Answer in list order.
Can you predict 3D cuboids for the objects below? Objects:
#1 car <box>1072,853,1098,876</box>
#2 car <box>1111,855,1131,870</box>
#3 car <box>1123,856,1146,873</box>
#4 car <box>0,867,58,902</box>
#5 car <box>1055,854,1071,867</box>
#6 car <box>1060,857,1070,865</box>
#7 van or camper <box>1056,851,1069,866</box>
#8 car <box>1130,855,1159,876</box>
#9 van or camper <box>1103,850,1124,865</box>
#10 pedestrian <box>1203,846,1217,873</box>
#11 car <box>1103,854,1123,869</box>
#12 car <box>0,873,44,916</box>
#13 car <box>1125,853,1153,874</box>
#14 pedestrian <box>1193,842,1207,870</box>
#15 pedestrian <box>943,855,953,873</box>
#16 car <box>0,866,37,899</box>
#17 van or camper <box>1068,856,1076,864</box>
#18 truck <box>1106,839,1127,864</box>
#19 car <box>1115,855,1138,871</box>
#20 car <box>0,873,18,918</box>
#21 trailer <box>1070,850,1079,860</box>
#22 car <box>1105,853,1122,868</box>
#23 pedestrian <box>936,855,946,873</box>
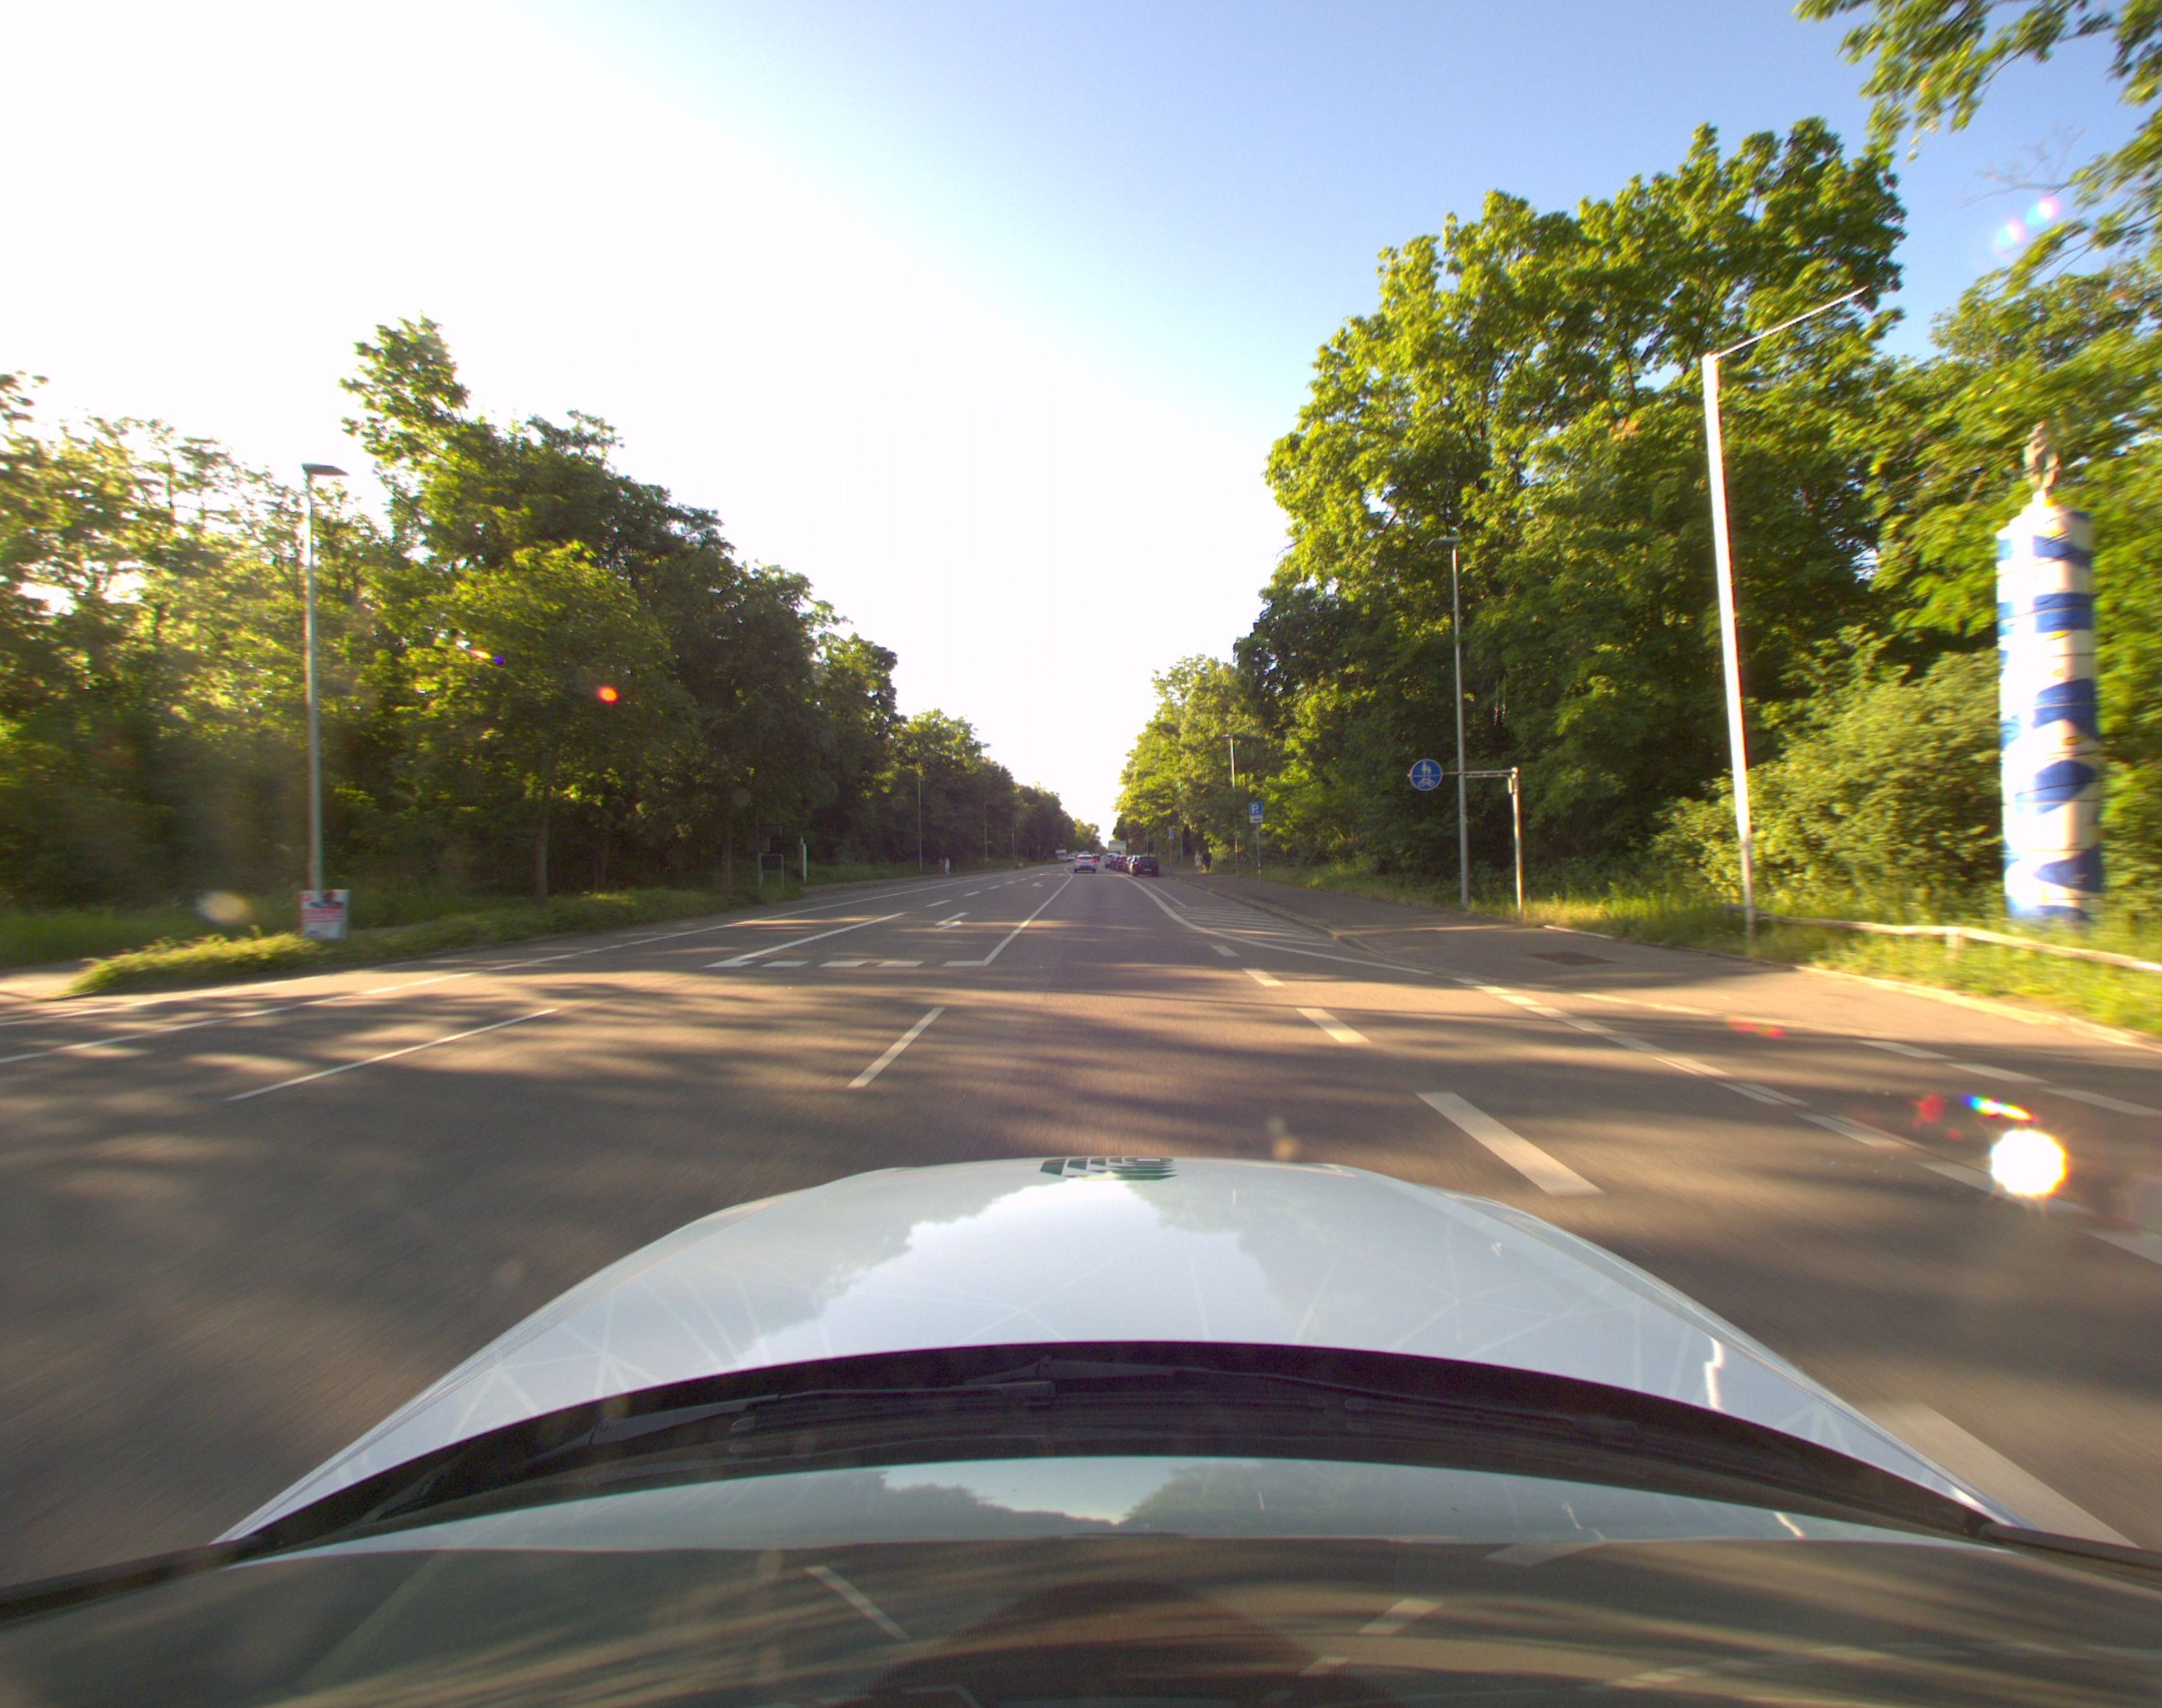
[{"bbox_3d":[0.393,0.892,69.170,2.020,1.840,4.031,-1,0,3],"label":"car"},{"bbox_3d":[3.903,0.802,79.698,1.590,1.401,3.795,0,0,-2],"label":"car"},{"bbox_3d":[4.453,0.856,68.263,1.624,1.319,3.838,0,0,-1],"label":"car"},{"bbox_3d":[-53.349,1.541,39.577,1.807,1.653,4.319,-2,0,33],"label":"car"},{"bbox_3d":[-2.056,0.758,95.315,1.801,1.519,4.503,1,0,0],"label":"car"},{"bbox_3d":[-3.209,1.363,164.628,1.822,1.476,4.679,-2,0,-1],"label":"car"},{"bbox_3d":[-3.911,0.857,172.138,2.307,2.970,7.110,-3,0,0],"label":"van or camper"},{"bbox_3d":[4.540,0.785,58.439,1.652,1.452,4.017,-1,0,-2],"label":"car"},{"bbox_3d":[6.237,0.612,155.322,2.422,2.800,6.584,-2,0,16],"label":"van or camper"},{"bbox_3d":[8.650,0.358,54.558,0.673,1.799,0.952,-3,0,-4],"label":"pedestrian"},{"bbox_3d":[3.321,0.756,84.996,1.801,1.519,4.503,1,0,0],"label":"car"},{"bbox_3d":[-43.714,1.623,31.462,1.807,1.653,4.319,-2,0,33],"label":"car"},{"bbox_3d":[4.454,0.731,62.725,1.732,1.525,4.357,-1,0,-1],"label":"car"},{"bbox_3d":[7.937,0.145,54.392,0.673,1.799,0.789,-3,0,-4],"label":"pedestrian"},{"bbox_3d":[-12.430,0.936,76.063,0.671,1.653,0.791,-1,0,6],"label":"pedestrian"},{"bbox_3d":[-56.482,1.493,41.234,1.807,1.653,4.319,-2,0,33],"label":"car"},{"bbox_3d":[-2.275,1.505,205.451,1.829,1.911,4.857,-3,0,2],"label":"van or camper"},{"bbox_3d":[5.141,-0.367,117.980,2.822,3.497,8.580,-1,0,1],"label":"truck"},{"bbox_3d":[4.143,0.805,74.159,1.613,1.469,3.719,1,0,-4],"label":"car"},{"bbox_3d":[-42.178,1.595,29.505,1.807,1.653,4.319,-2,0,33],"label":"car"},{"bbox_3d":[-1.756,0.377,228.262,1.986,2.597,4.418,-3,0,2],"label":"trailer"},{"bbox_3d":[3.567,0.656,89.696,1.791,1.595,4.031,-1,0,3],"label":"car"},{"bbox_3d":[-13.105,0.931,76.132,0.671,1.653,0.791,-1,0,6],"label":"pedestrian"}]
